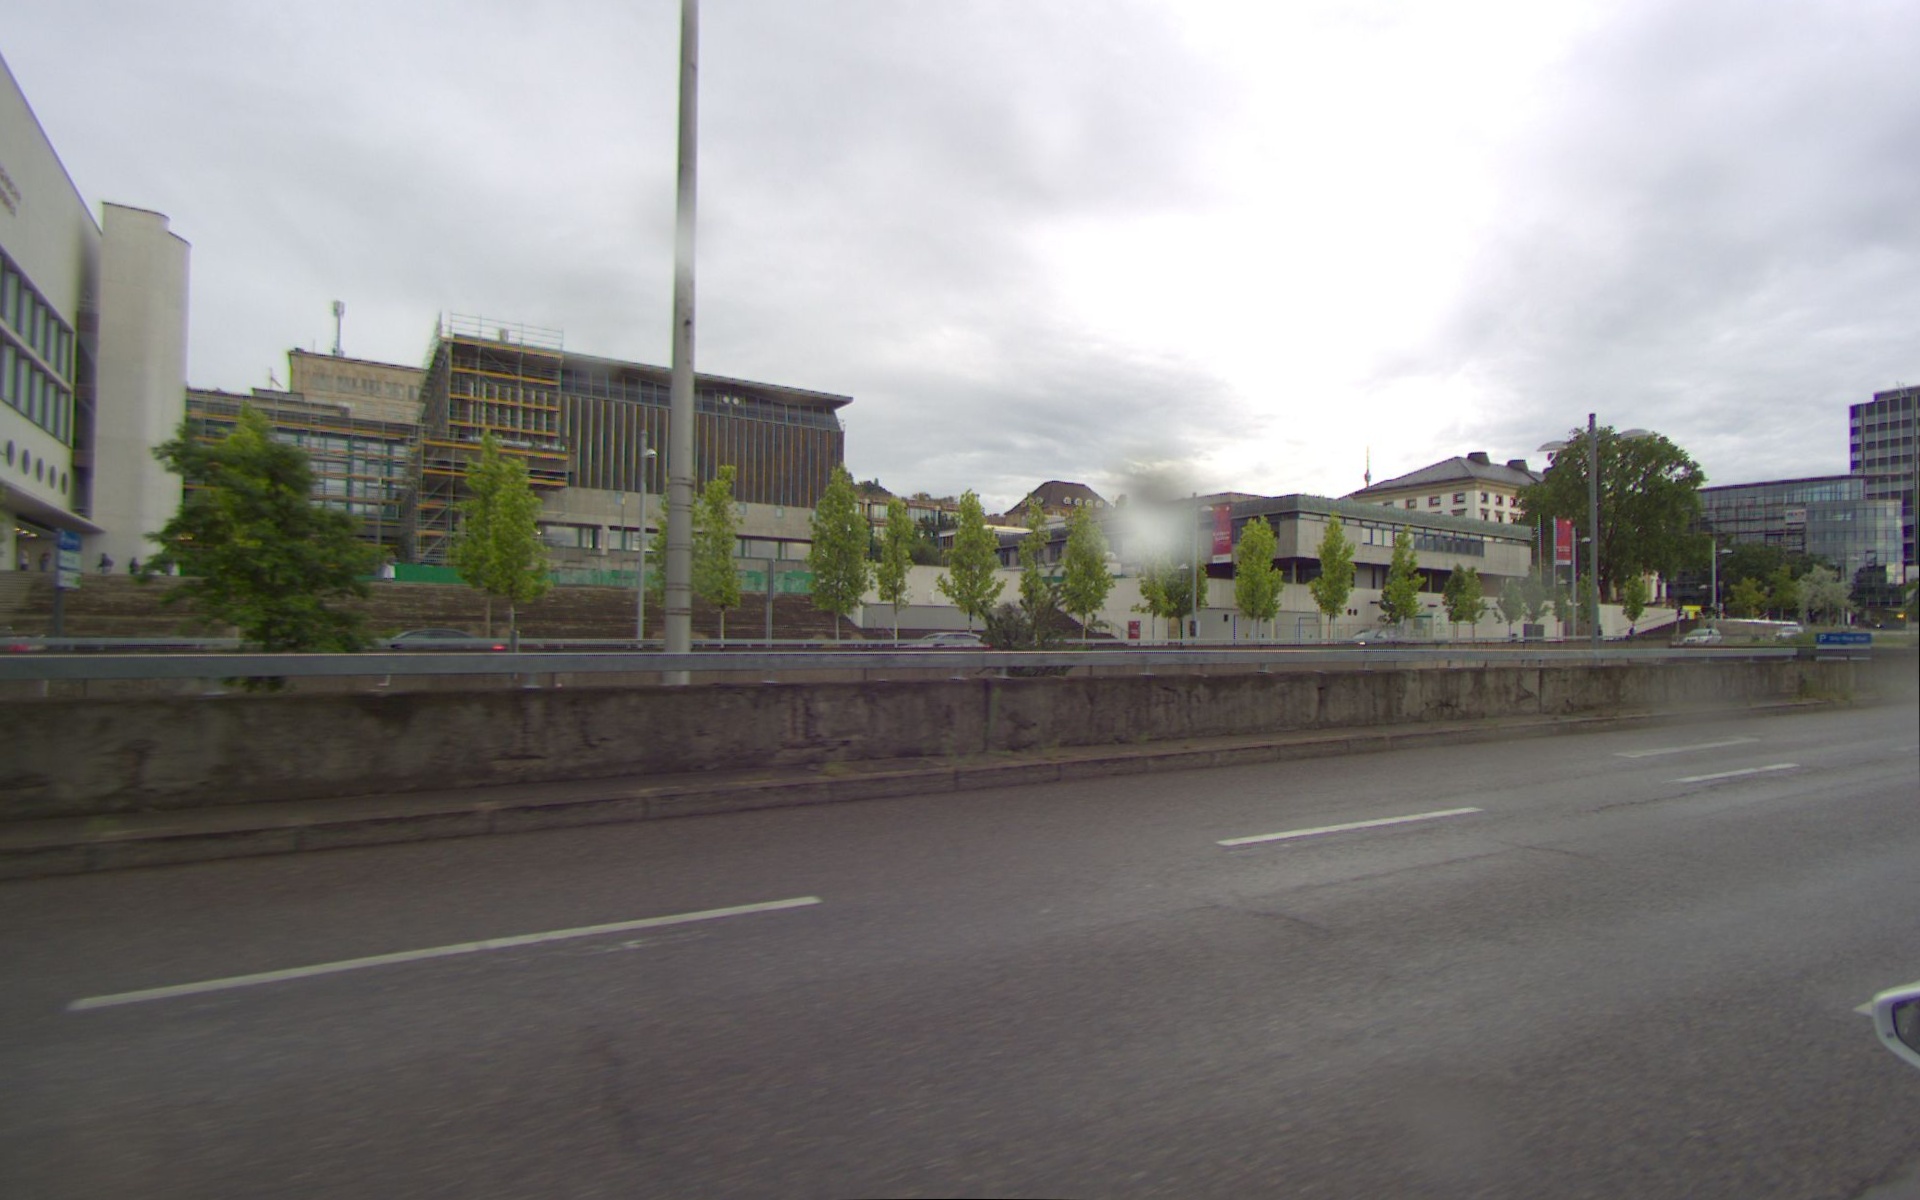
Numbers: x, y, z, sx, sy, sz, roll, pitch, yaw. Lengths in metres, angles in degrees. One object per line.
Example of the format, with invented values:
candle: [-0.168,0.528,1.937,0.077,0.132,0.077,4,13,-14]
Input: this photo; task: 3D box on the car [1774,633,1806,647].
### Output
car: [75.862,3.671,91.774,2.988,1.129,1.432,3,-1,-33]

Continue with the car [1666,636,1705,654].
car: [58.107,3.605,80.454,3.128,1.271,1.402,2,-1,-29]

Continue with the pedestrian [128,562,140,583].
pedestrian: [-45.779,-1.528,55.683,0.412,1.126,0.312,1,-1,20]

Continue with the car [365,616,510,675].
car: [-14.825,1.291,28.524,3.441,1.576,1.683,3,-1,-35]

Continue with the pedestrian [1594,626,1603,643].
pedestrian: [52.528,2.847,82.604,0.572,1.401,0.463,2,-1,-41]

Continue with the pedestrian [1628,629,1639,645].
pedestrian: [59.735,3.283,89.079,0.625,1.441,0.490,2,-1,-27]

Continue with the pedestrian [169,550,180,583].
pedestrian: [-38.014,-1.617,48.615,0.306,1.594,0.314,1,-1,31]

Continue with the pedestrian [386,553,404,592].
pedestrian: [-30.070,-1.461,53.431,0.630,2.040,0.603,1,-1,40]

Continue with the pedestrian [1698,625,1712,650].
pedestrian: [65.829,3.270,88.704,0.718,2.120,0.762,-5,3,-33]

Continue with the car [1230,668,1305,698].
car: [13.323,3.578,43.491,3.018,1.144,1.479,3,-1,-33]

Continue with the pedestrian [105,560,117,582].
pedestrian: [-45.171,-1.555,53.462,0.307,1.126,0.419,2,-1,-15]
